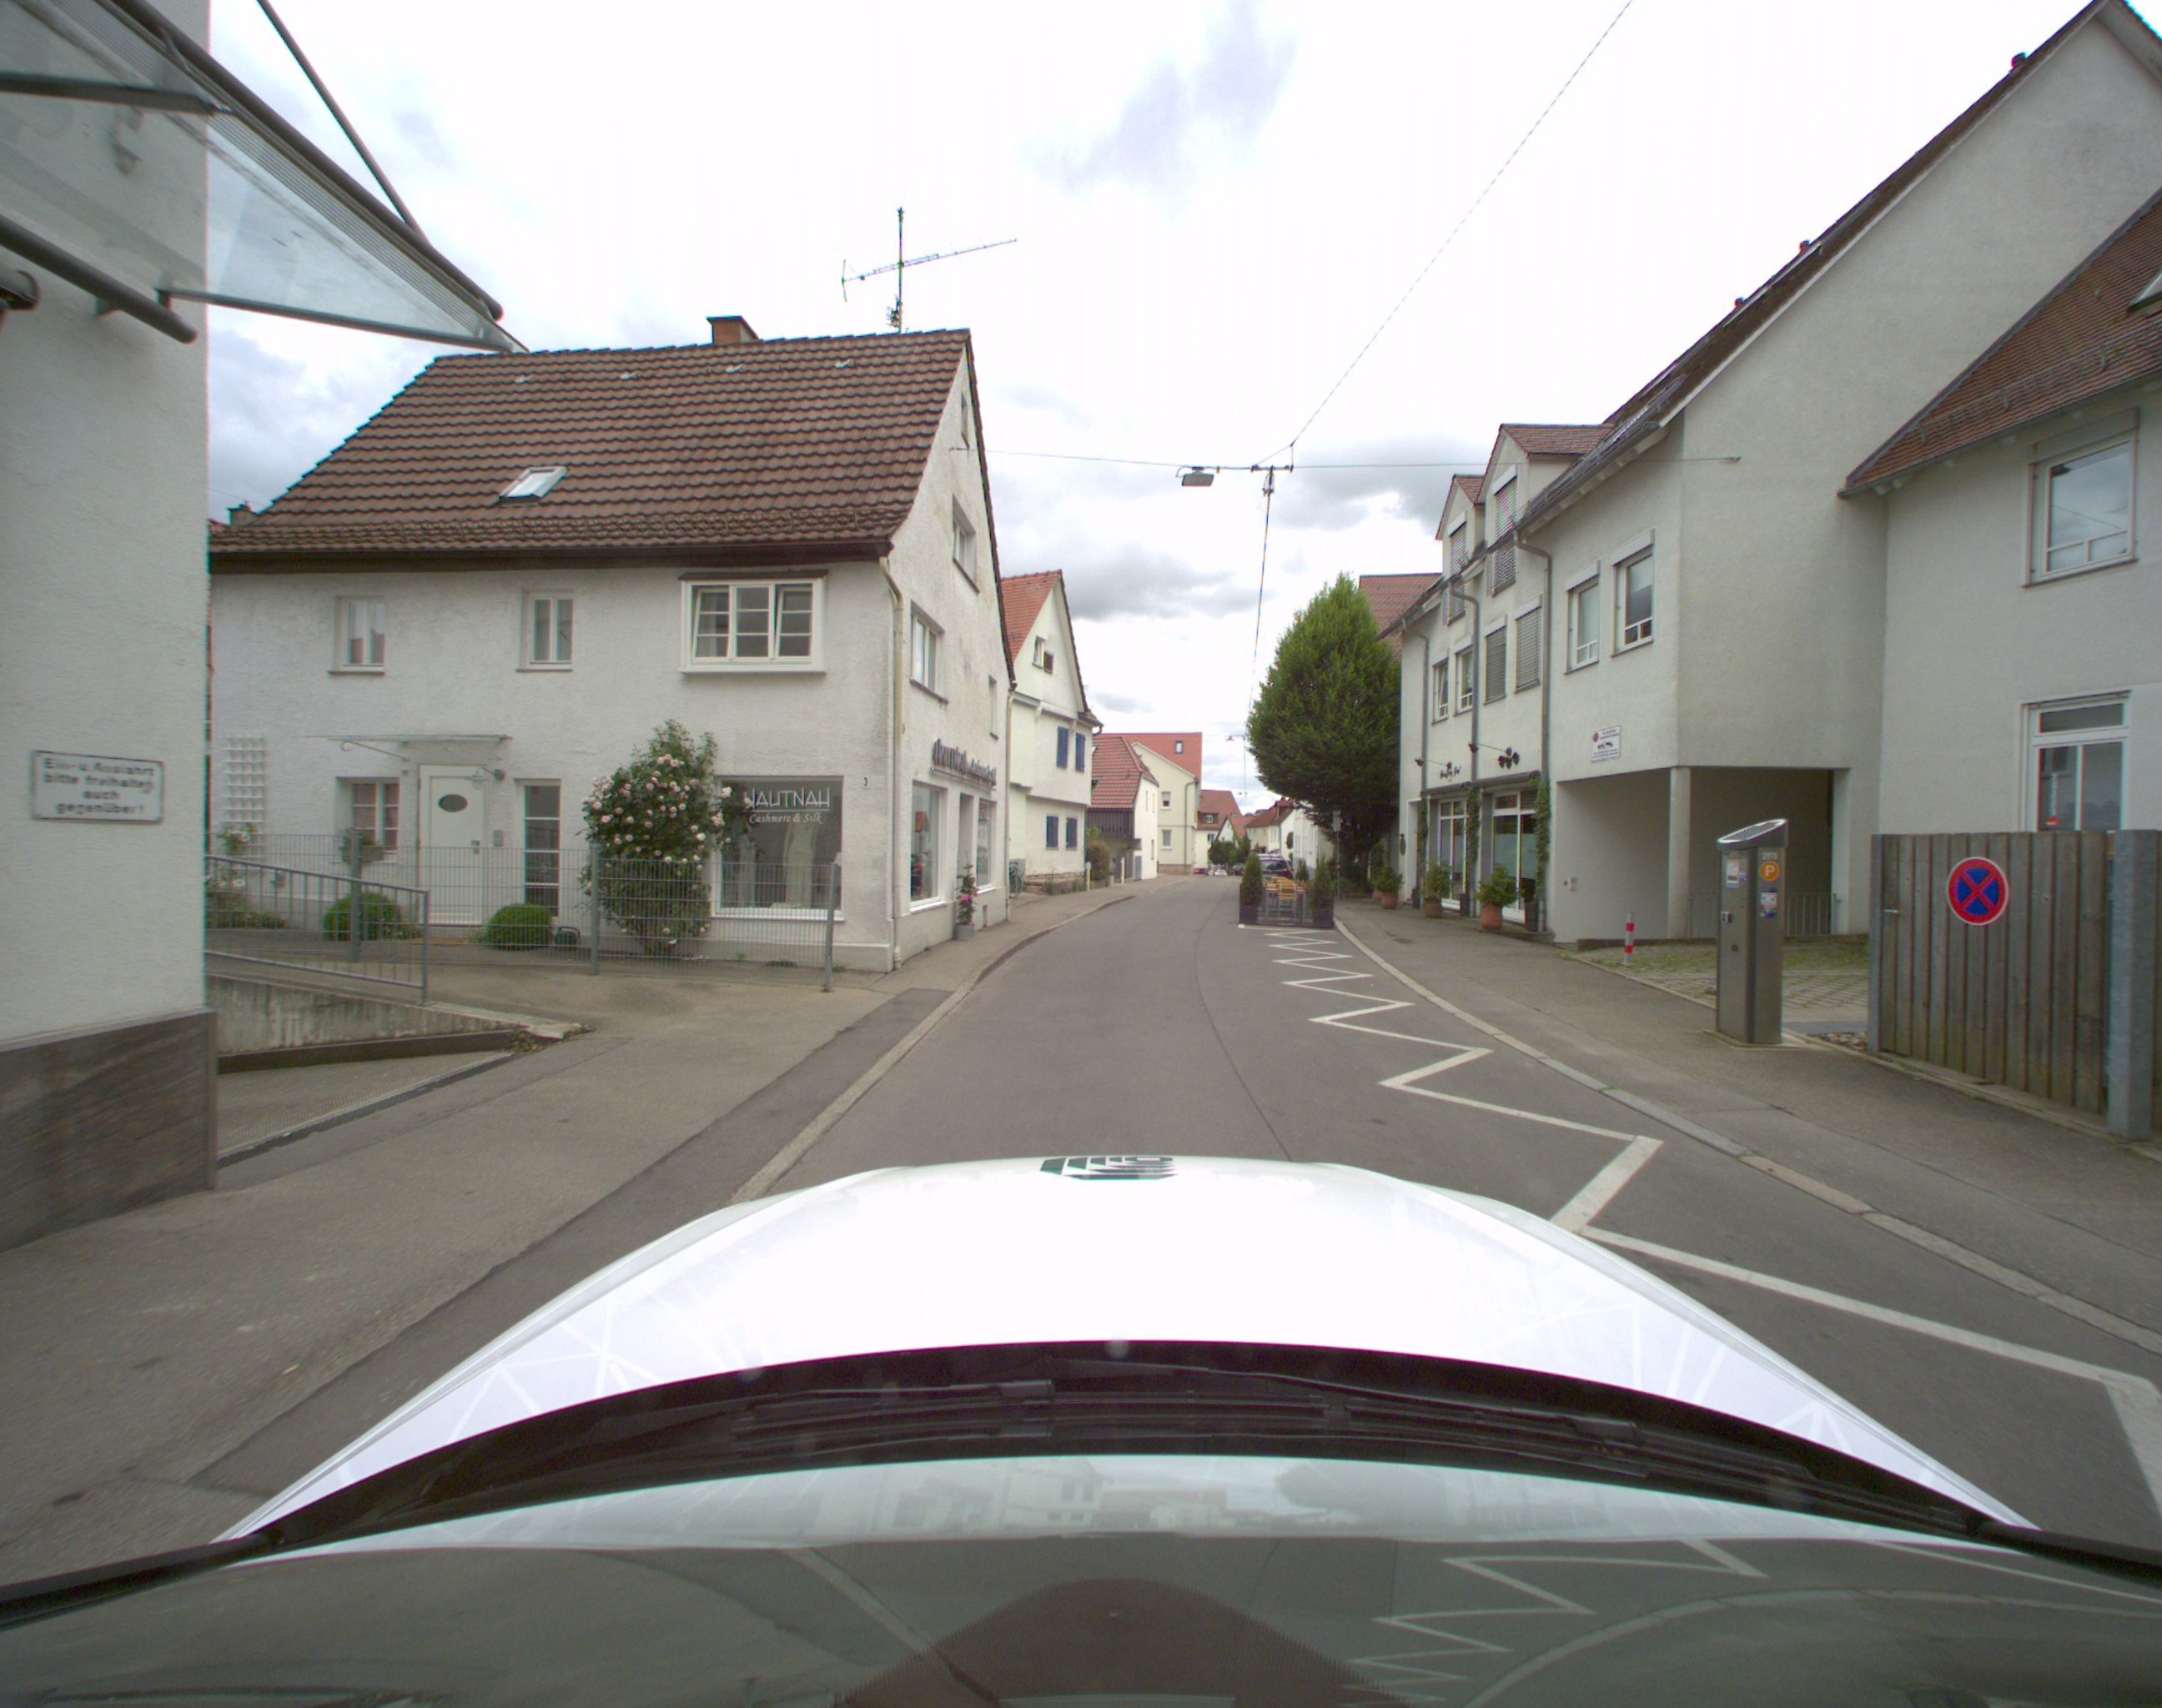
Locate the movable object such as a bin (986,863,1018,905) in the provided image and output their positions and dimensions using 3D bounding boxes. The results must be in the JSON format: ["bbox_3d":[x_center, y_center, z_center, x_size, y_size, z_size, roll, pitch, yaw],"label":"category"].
[{"bbox_3d":[-2.071,0.783,21.422,0.548,0.999,0.590,6,4,22],"label":"movable object such as a bin"}]

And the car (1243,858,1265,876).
[{"bbox_3d":[17.434,1.362,82.176,1.862,1.713,4.157,1,-1,9],"label":"car"}]

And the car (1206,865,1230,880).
[{"bbox_3d":[17.251,2.286,102.428,1.960,1.713,3.992,1,0,-6],"label":"car"}]

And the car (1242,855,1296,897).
[{"bbox_3d":[7.514,0.808,32.646,1.935,1.508,4.837,2,0,13],"label":"car"}]

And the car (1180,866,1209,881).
[{"bbox_3d":[15.029,2.572,108.303,2.003,1.684,3.968,-4,-2,-23],"label":"car"}]

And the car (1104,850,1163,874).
[{"bbox_3d":[3.780,0.593,58.064,3.703,1.411,2.129,4,-1,16],"label":"car"}]

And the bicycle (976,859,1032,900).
[{"bbox_3d":[-2.115,0.680,22.700,0.438,1.038,2.104,6,3,25],"label":"bicycle"}]

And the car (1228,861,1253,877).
[{"bbox_3d":[18.196,1.717,93.016,1.987,1.713,3.998,0,-3,0],"label":"car"}]

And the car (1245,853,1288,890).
[{"bbox_3d":[8.707,0.797,38.528,1.851,1.633,4.916,1,0,11],"label":"car"}]
